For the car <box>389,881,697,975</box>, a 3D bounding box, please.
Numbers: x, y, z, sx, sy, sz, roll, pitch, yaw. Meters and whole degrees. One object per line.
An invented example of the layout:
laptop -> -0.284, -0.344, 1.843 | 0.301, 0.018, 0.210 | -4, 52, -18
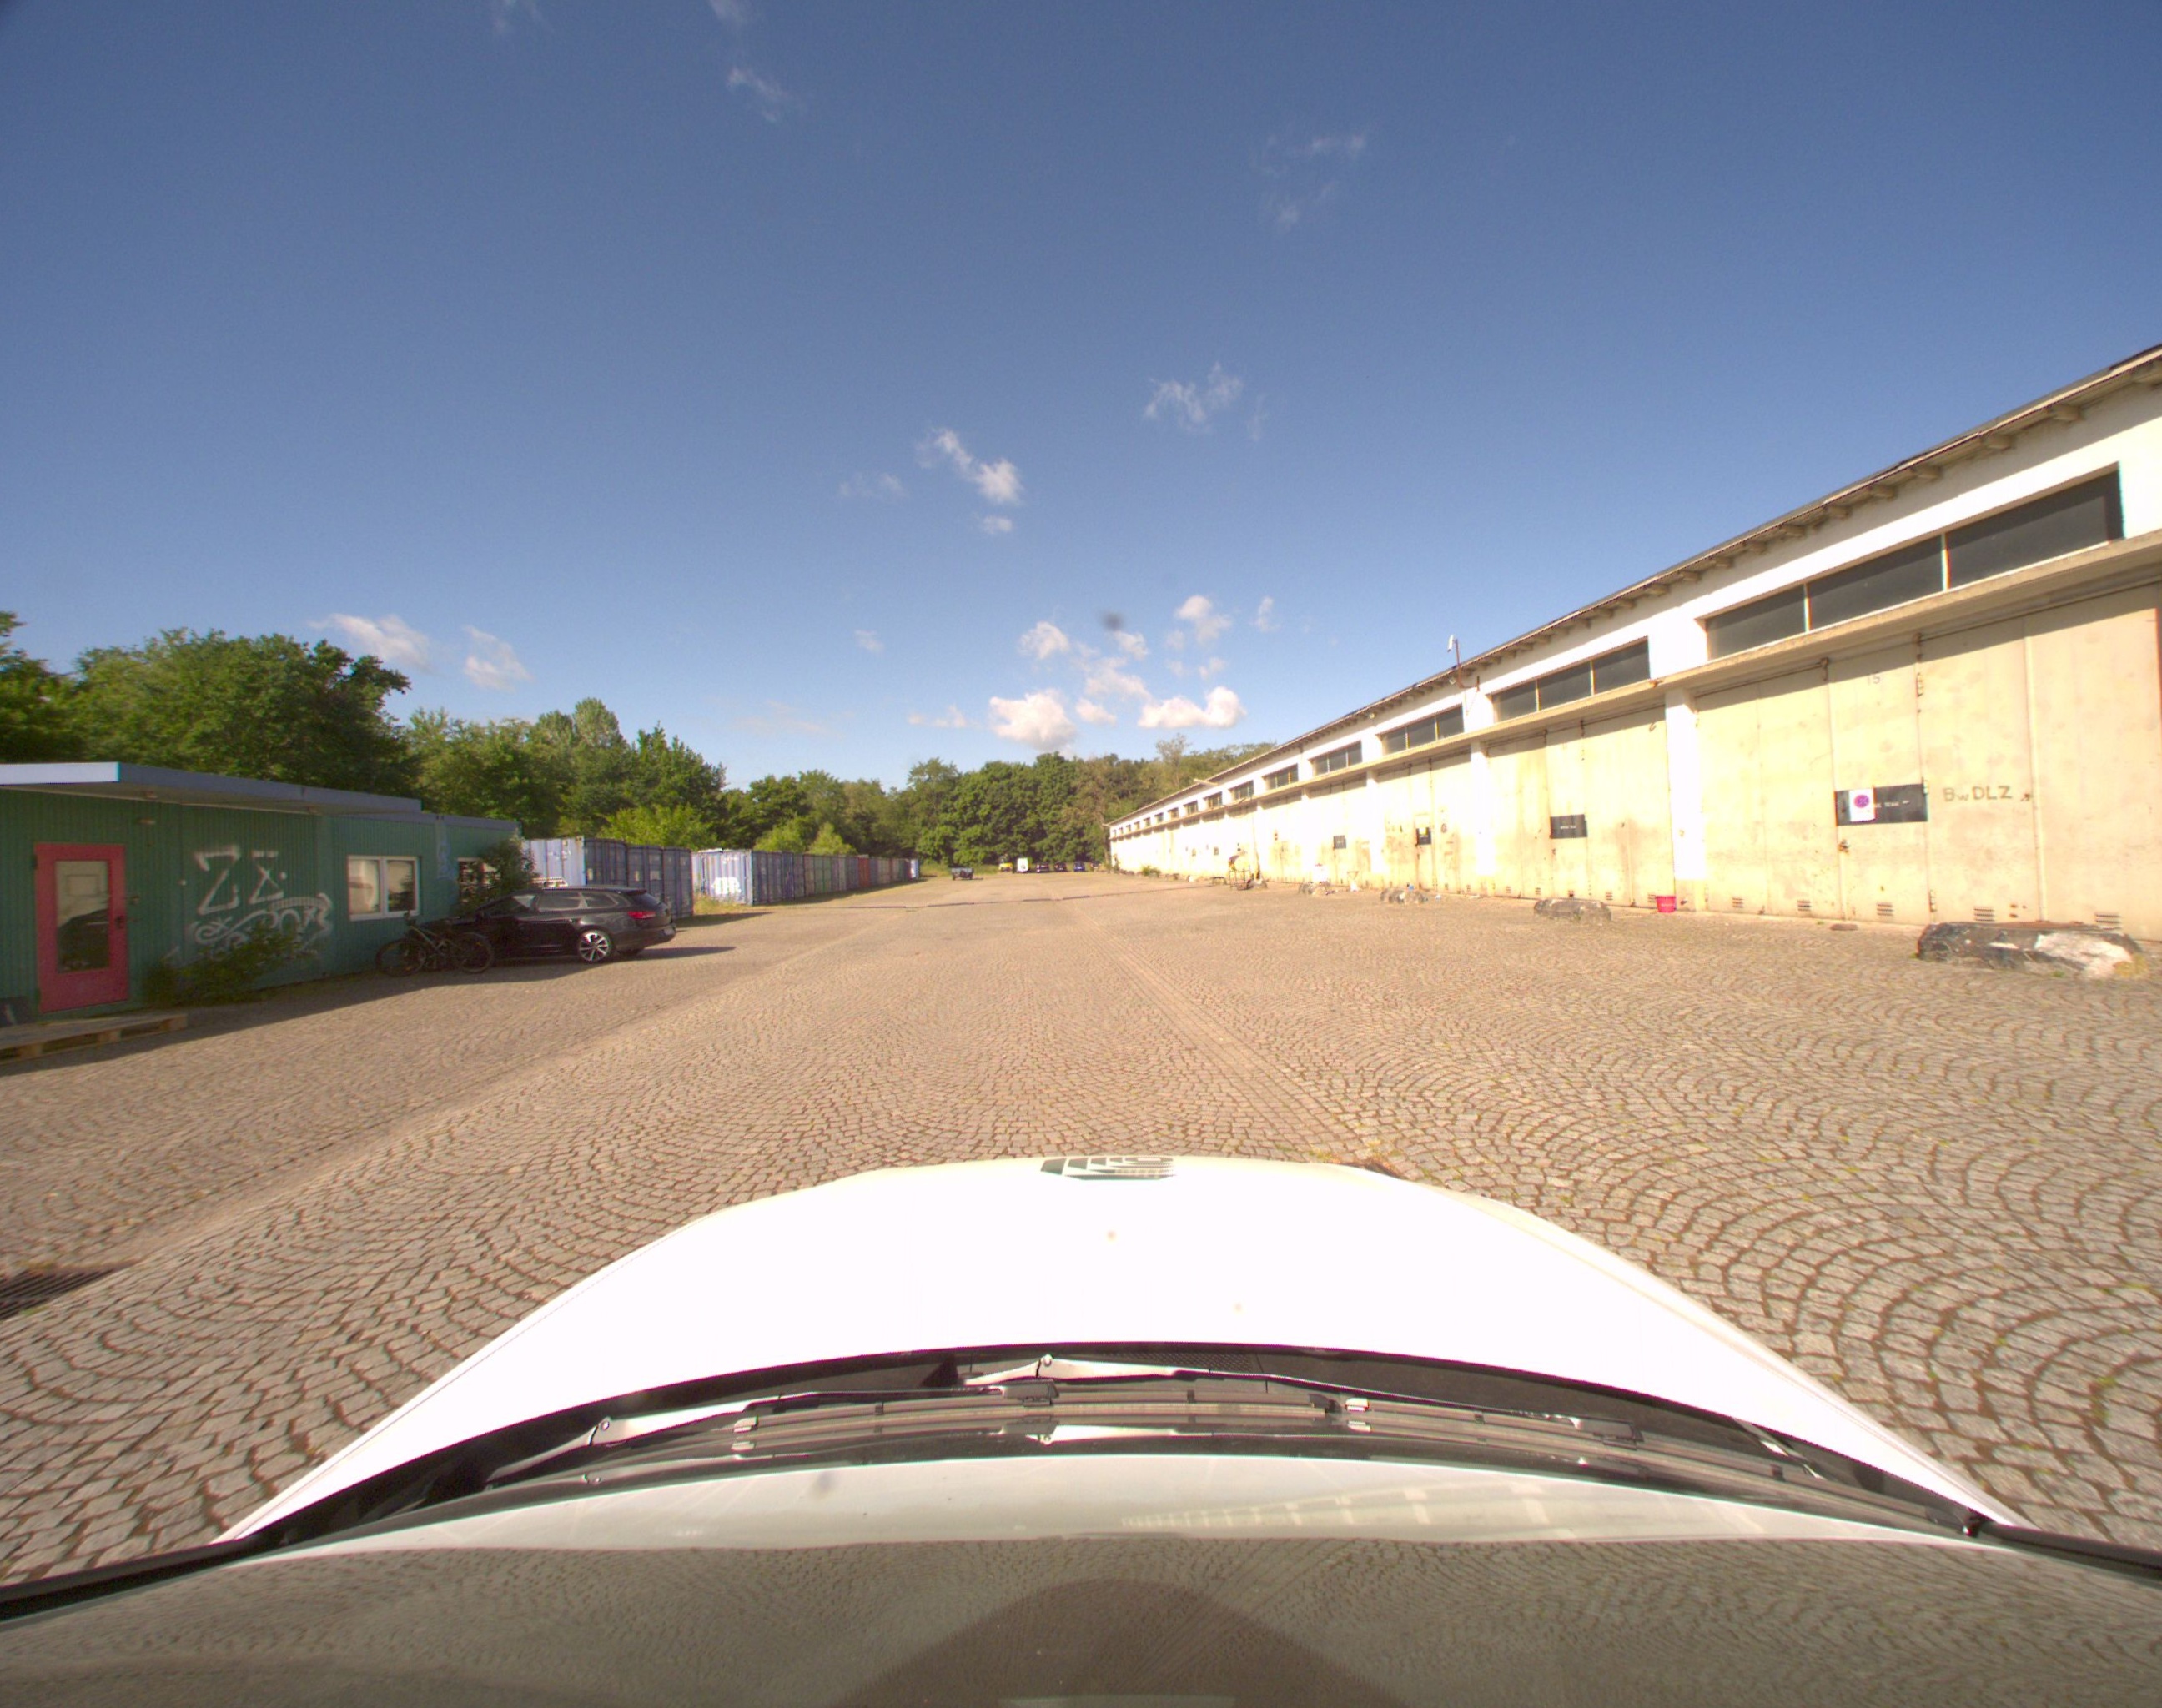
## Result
car -> -10.012, 1.330, 15.519 | 4.412, 1.464, 1.994 | -1, -1, -8

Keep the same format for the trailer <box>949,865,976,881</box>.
trailer -> -13.810, 2.182, 95.470 | 2.787, 1.646, 5.609 | -3, -1, -5

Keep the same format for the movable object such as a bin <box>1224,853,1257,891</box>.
movable object such as a bin -> 6.111, 0.679, 31.261 | 0.874, 1.401, 1.099 | -3, -1, -6

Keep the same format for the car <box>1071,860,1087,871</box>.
car -> -0.307, 1.601, 114.416 | 1.990, 1.466, 3.993 | -3, 0, -5

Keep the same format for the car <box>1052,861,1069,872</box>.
car -> -2.881, 1.772, 114.193 | 1.990, 1.424, 3.993 | -3, 0, -5

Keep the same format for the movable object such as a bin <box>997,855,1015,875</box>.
movable object such as a bin -> -10.647, 1.501, 115.123 | 2.230, 2.657, 3.990 | -3, 0, -7

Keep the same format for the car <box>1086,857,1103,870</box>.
car -> 1.939, 1.375, 115.868 | 1.990, 1.772, 3.993 | -3, 0, -5

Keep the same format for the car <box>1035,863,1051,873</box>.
car -> -5.362, 1.922, 113.594 | 1.990, 1.258, 3.993 | -3, 0, -5

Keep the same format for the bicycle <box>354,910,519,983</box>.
bicycle -> -10.845, 1.536, 13.786 | 1.873, 1.027, 1.036 | -3, -1, -7

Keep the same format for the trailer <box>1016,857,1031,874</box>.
trailer -> -8.131, 1.598, 114.588 | 1.990, 2.162, 4.423 | -3, 0, -5
